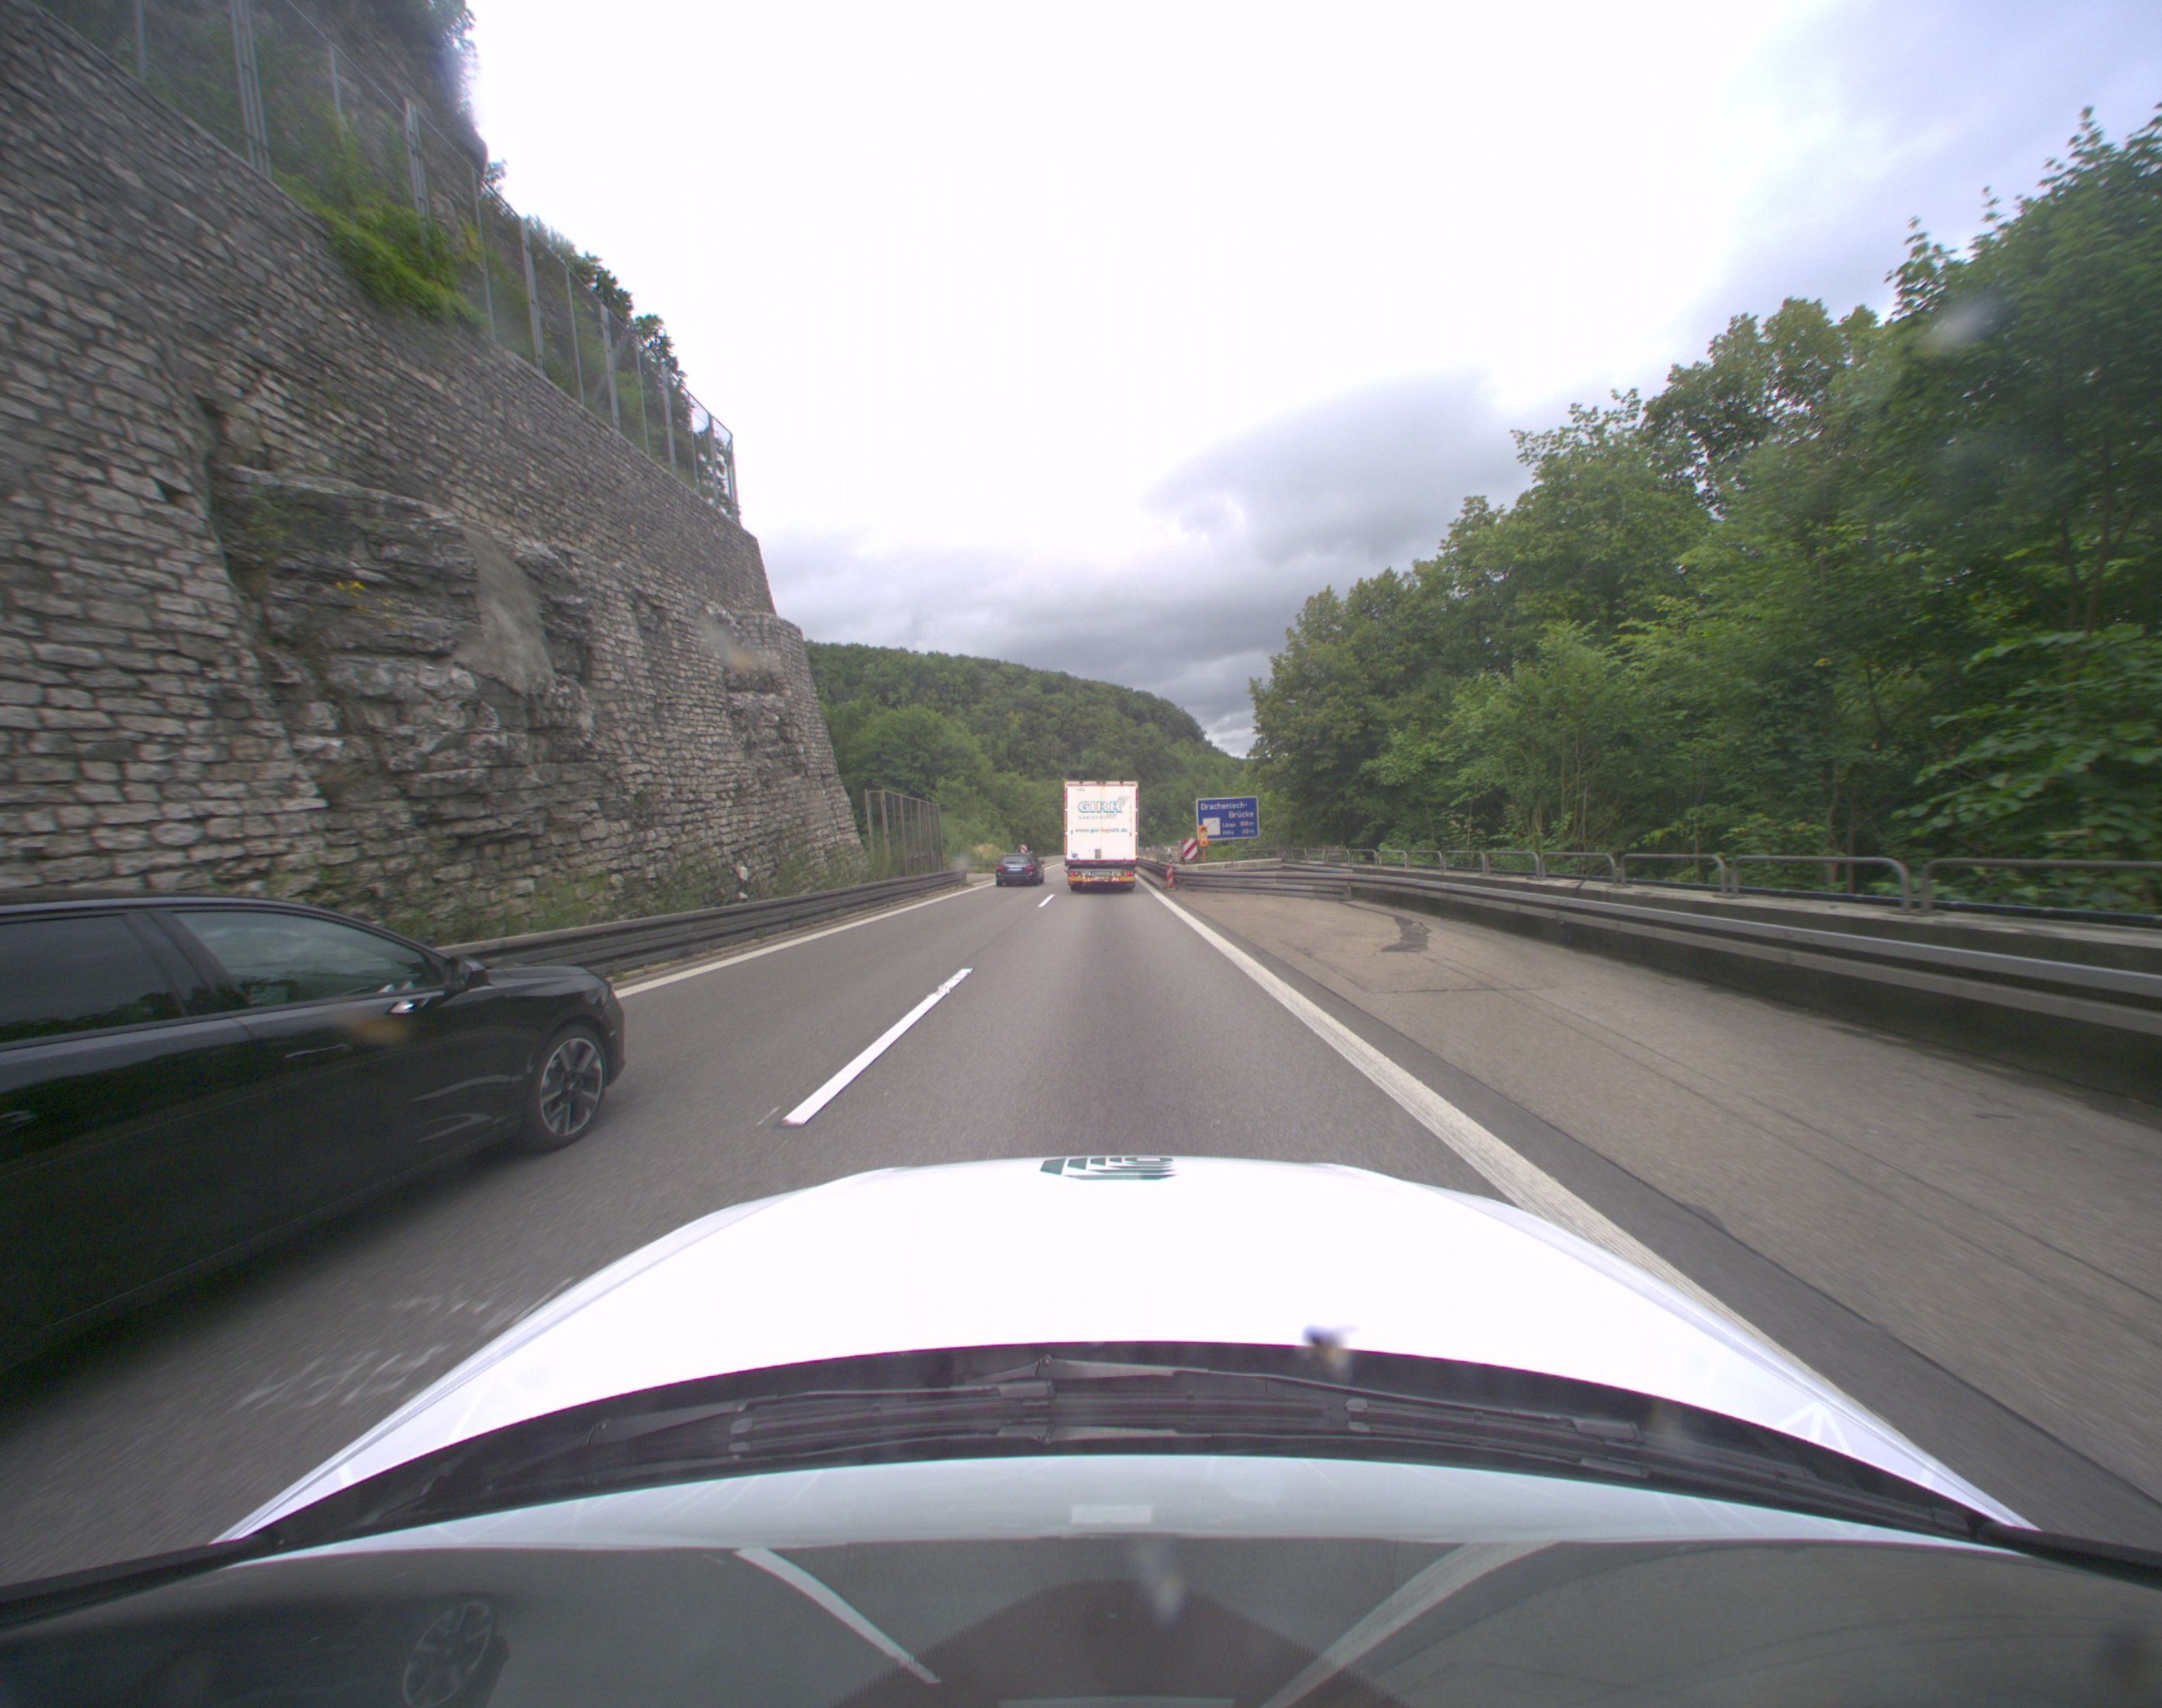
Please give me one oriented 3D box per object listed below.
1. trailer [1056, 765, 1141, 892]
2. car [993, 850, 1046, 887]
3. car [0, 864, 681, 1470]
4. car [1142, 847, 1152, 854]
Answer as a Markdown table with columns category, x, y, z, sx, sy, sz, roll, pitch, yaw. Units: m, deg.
| category | x | y | z | sx | sy | sz | roll | pitch | yaw |
| --- | --- | --- | --- | --- | --- | --- | --- | --- | --- |
| trailer | 0.737 | -0.847 | 34.179 | 2.803 | 4.302 | 12.247 | -2 | 0 | 1 |
| car | -2.688 | 0.620 | 36.585 | 1.876 | 1.510 | 4.420 | -2 | 0 | 2 |
| car | -3.567 | 0.819 | 3.038 | 1.767 | 1.461 | 4.583 | -1 | 0 | 1 |
| car | 16.865 | -0.809 | 209.060 | 1.980 | 1.684 | 4.013 | -1 | -1 | 12 |
